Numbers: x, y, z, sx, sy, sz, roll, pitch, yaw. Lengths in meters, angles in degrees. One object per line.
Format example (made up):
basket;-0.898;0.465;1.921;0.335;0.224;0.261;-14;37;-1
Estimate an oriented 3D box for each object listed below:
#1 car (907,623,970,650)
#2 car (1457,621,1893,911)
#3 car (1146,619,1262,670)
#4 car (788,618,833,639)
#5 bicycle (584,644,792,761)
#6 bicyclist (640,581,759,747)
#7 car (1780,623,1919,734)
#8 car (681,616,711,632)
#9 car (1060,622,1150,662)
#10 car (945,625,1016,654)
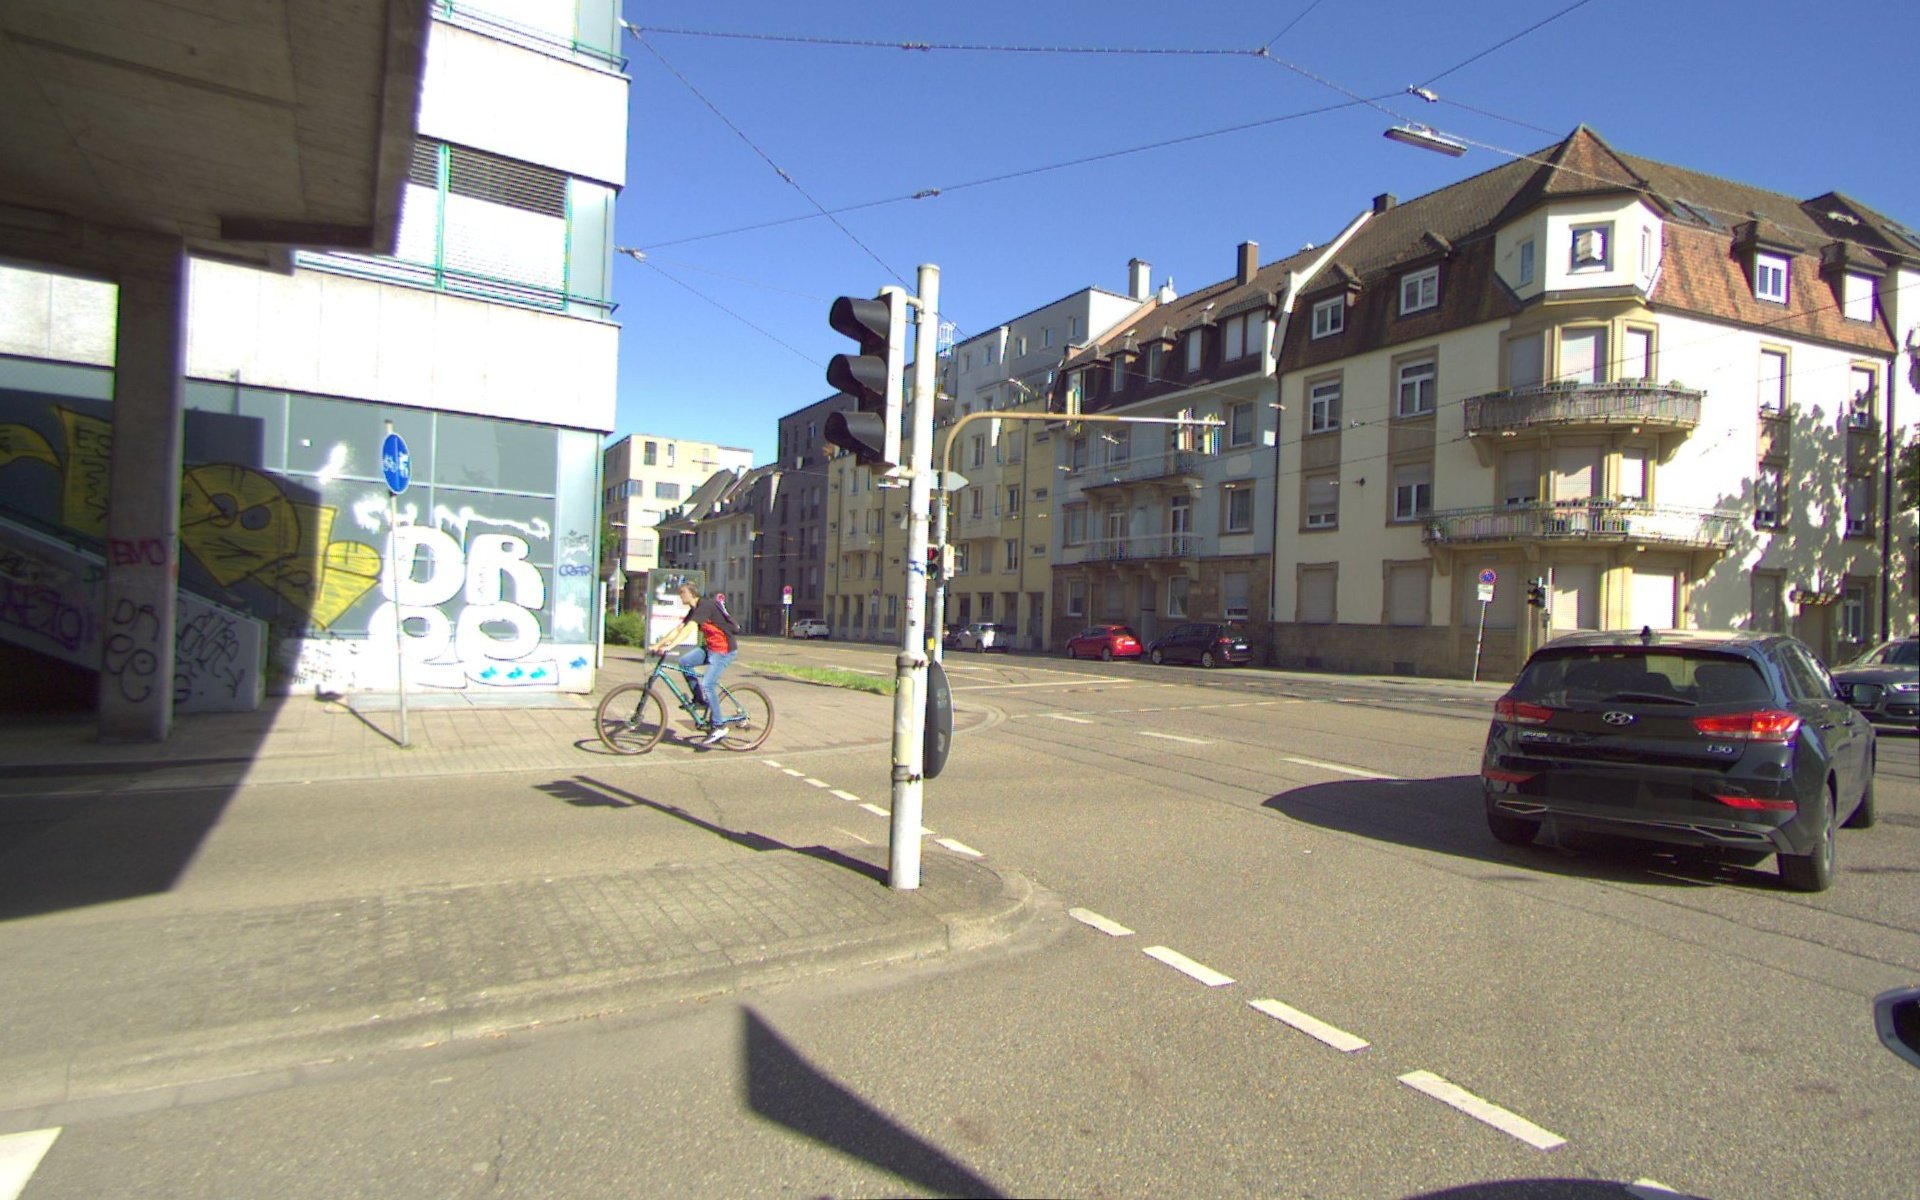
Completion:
car;-1.212;1.969;54.915;1.941;1.381;3.812;1;-1;-29
car;5.341;0.938;7.257;4.296;1.470;1.784;3;-3;-44
car;9.107;1.609;37.759;1.939;1.747;4.140;1;-1;-30
car;-10.568;2.008;70.720;1.941;1.381;3.812;1;-1;-29
bicycle;-2.858;1.058;10.663;2.034;1.138;0.539;2;-1;-30
bicyclist;-2.785;0.665;10.729;1.019;1.682;0.778;2;-1;-30
car;15.813;1.250;16.384;4.083;1.631;1.883;2;-1;-18
car;-24.432;2.203;92.918;1.782;1.381;3.684;1;-1;-29
car;6.132;1.740;42.873;1.877;1.561;3.860;1;-1;-30
car;0.987;1.971;51.088;1.976;1.381;3.812;1;-1;-29
